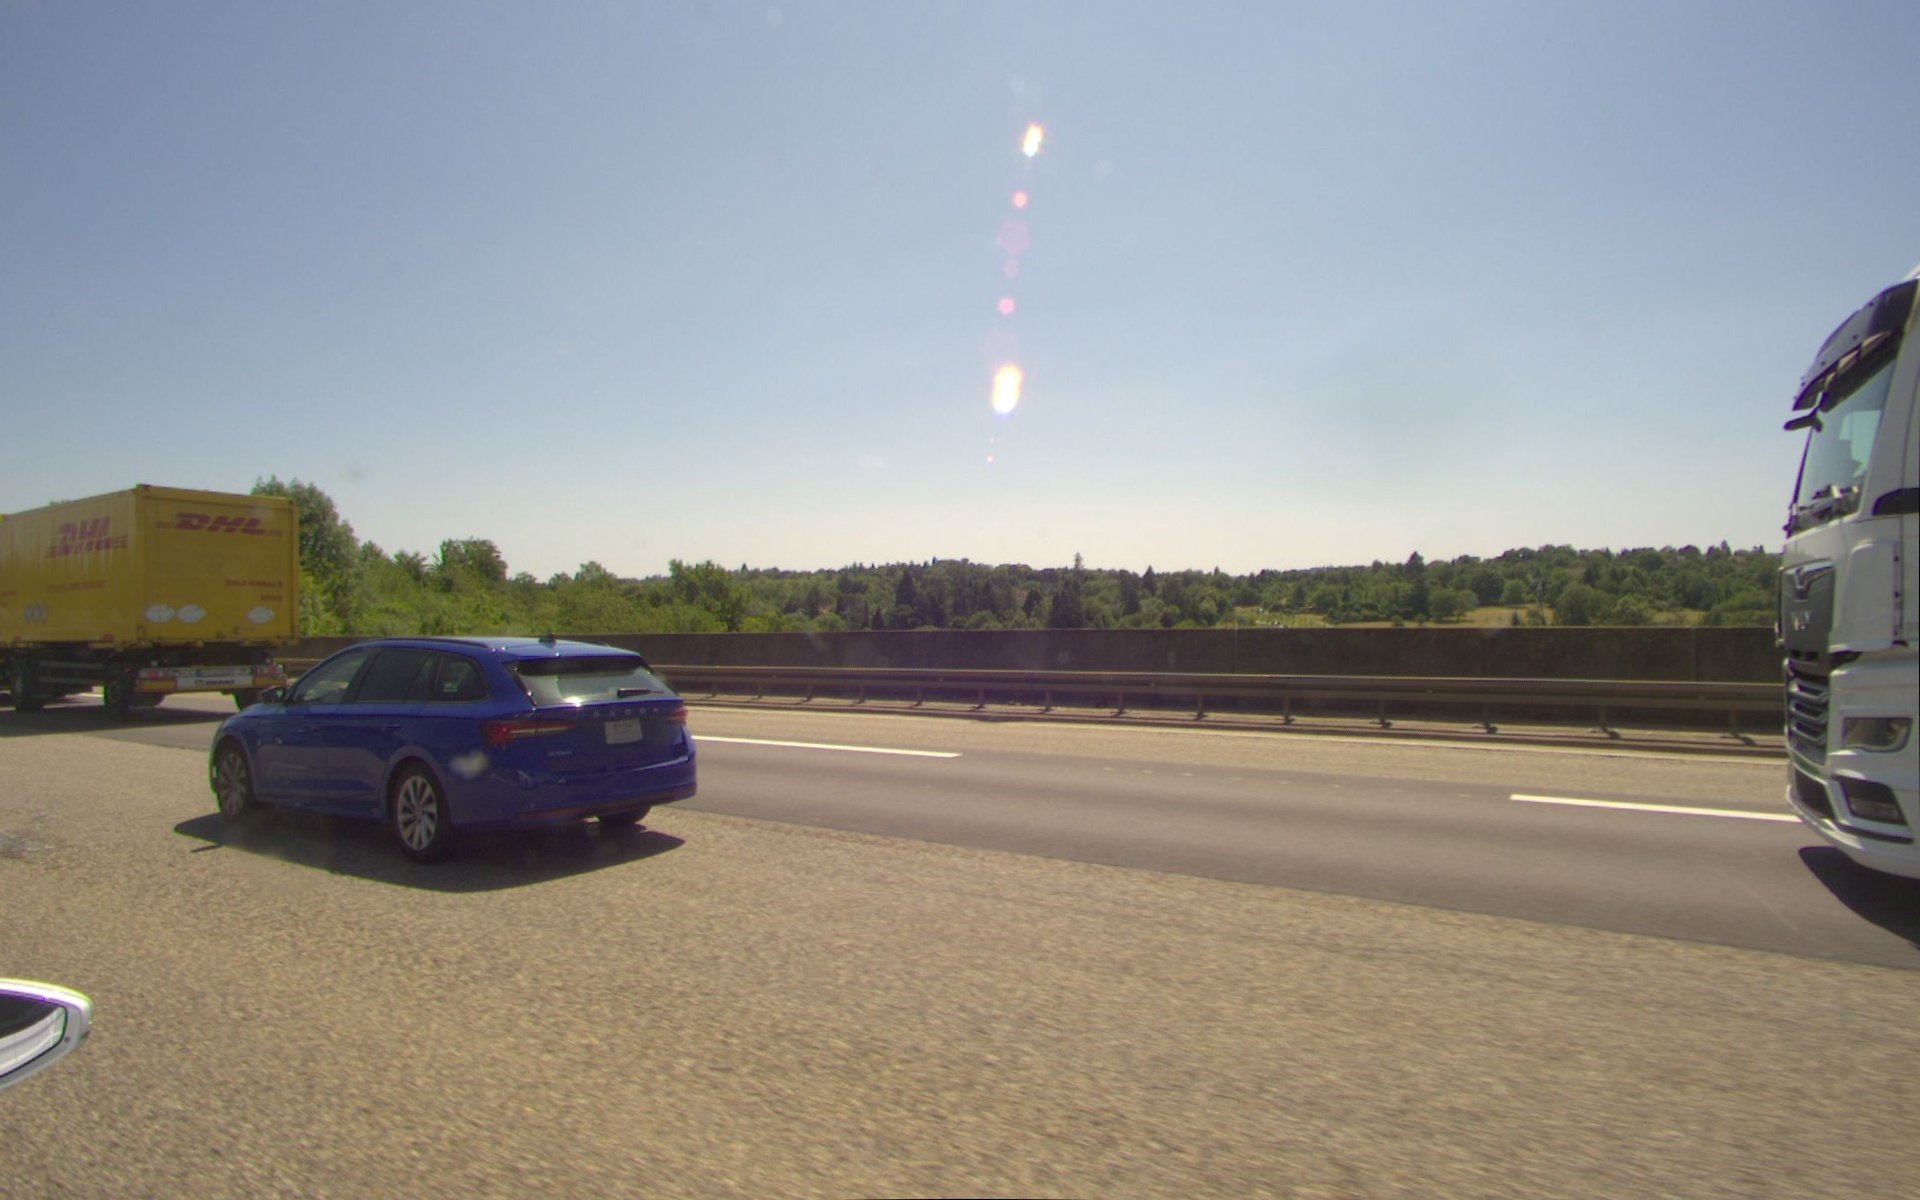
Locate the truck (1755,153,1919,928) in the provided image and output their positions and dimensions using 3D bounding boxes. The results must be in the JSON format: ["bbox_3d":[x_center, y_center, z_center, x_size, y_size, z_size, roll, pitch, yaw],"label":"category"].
[{"bbox_3d":[9.538,-0.340,3.214,10.615,3.648,2.846,-1,-2,32],"label":"truck"}]

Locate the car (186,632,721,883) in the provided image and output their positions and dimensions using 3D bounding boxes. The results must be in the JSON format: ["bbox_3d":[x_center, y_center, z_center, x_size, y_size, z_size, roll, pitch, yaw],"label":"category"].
[{"bbox_3d":[-4.056,0.991,7.766,4.437,1.459,1.707,-2,-2,33],"label":"car"}]

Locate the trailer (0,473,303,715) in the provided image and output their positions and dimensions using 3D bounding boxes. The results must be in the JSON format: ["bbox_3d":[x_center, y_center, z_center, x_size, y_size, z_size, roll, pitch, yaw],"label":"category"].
[{"bbox_3d":[-16.984,0.084,20.407,8.806,4.074,2.697,-2,-3,33],"label":"trailer"}]

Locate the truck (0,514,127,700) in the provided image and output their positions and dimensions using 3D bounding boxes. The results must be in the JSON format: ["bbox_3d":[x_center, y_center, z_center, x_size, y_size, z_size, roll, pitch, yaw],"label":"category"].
[{"bbox_3d":[-24.949,0.345,25.606,10.193,4.105,2.717,-2,-3,33],"label":"truck"}]
